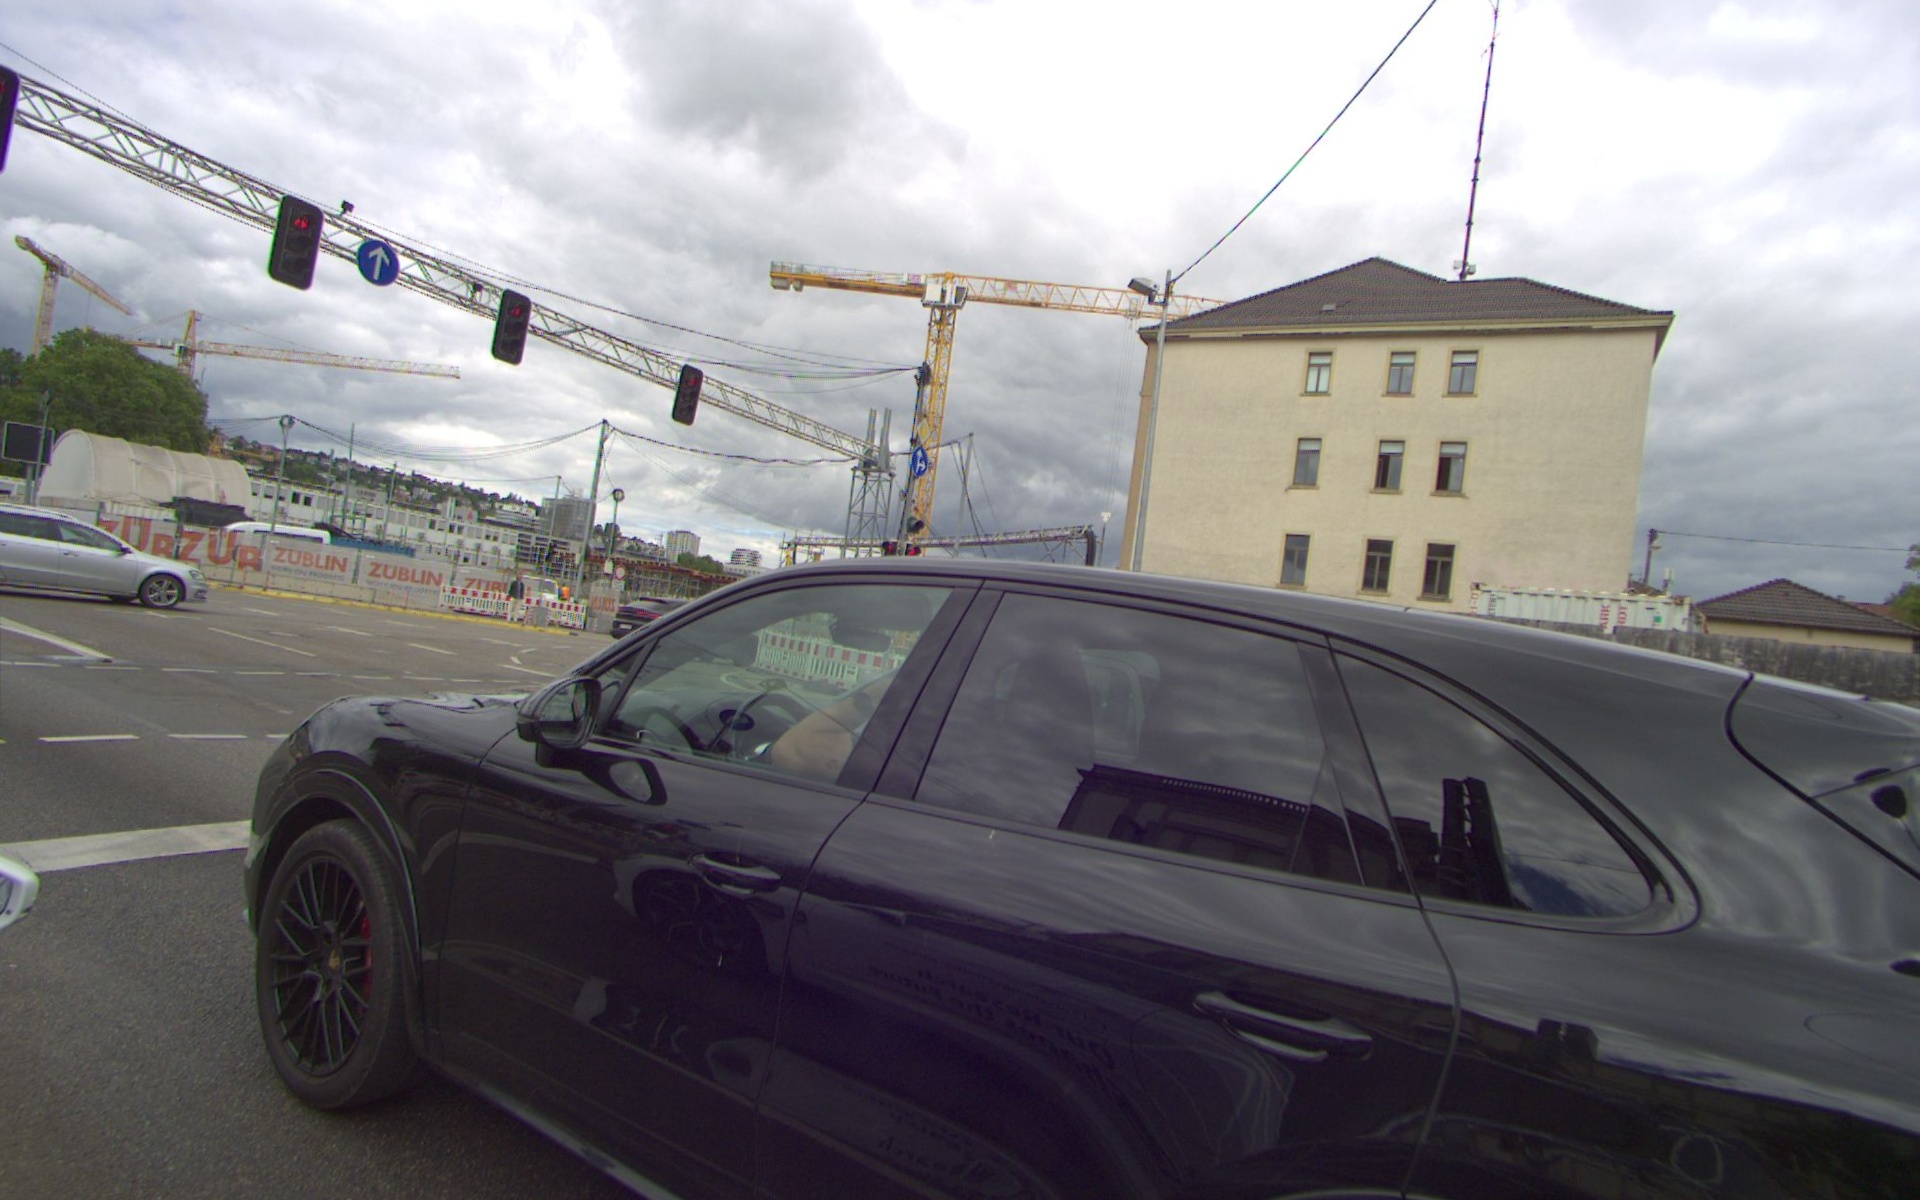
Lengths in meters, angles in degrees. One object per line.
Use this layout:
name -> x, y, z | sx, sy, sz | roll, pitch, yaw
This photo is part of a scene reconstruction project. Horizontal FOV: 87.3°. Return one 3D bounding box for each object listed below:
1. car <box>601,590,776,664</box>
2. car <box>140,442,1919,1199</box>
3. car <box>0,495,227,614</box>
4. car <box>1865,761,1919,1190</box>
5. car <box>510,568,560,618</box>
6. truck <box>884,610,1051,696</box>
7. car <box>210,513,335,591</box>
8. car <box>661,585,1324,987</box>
car -> -7.969, 0.857, 29.963 | 1.988, 1.643, 4.816 | 6, -2, 33
car -> -0.047, 0.672, 2.671 | 4.410, 1.735, 1.828 | 6, -2, 32
car -> -15.800, -0.866, 17.366 | 1.653, 1.643, 4.722 | 6, -2, 29
car -> 5.767, 1.678, 2.575 | 4.729, 1.644, 1.828 | 6, -2, 32
car -> -19.164, -0.326, 45.301 | 1.757, 1.976, 3.108 | 8, -2, -25
truck -> 0.582, 2.449, 43.998 | 2.584, 2.835, 8.997 | 7, -2, 34
car -> -29.575, -2.043, 43.373 | 1.660, 2.692, 3.979 | 6, -2, 45
car -> 0.115, 0.978, 6.668 | 3.934, 1.644, 1.679 | 6, -2, 32
